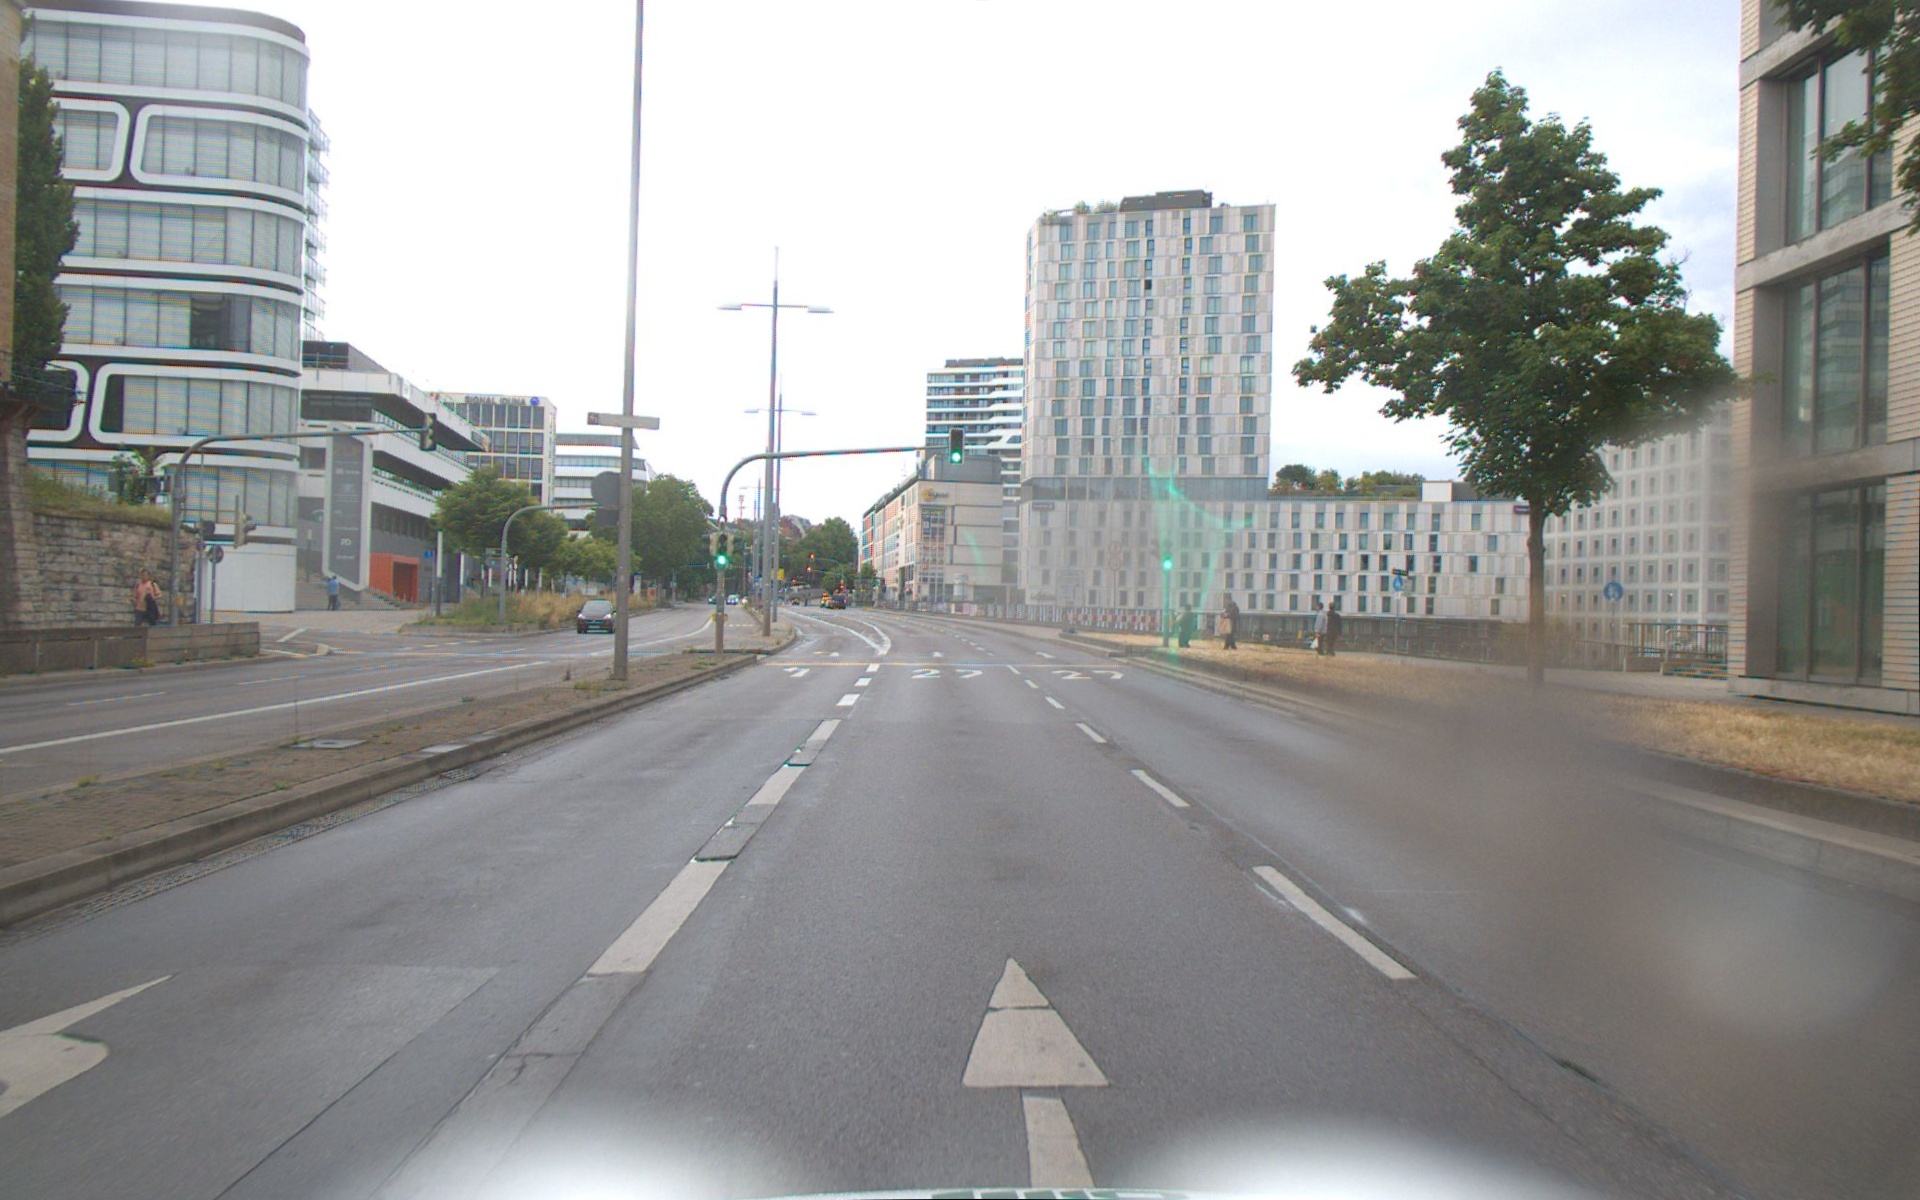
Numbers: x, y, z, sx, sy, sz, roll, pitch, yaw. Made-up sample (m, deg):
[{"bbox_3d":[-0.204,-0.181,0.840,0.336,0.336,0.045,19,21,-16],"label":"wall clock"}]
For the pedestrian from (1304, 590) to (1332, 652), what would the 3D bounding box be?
[{"bbox_3d":[9.585,0.556,44.282,0.540,1.605,0.669,0,1,33],"label":"pedestrian"}]

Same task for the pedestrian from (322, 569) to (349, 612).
[{"bbox_3d":[-30.017,-0.455,79.454,1.009,2.048,0.715,0,1,-2],"label":"pedestrian"}]

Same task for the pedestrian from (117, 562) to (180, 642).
[{"bbox_3d":[-19.620,0.040,39.973,0.865,1.899,1.058,0,1,33],"label":"pedestrian"}]

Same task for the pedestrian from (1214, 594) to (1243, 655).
[{"bbox_3d":[7.152,0.644,44.019,0.540,1.605,0.669,0,1,33],"label":"pedestrian"}]

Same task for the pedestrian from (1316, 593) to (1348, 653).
[{"bbox_3d":[10.256,0.626,45.582,0.657,1.605,0.666,1,2,36],"label":"pedestrian"}]

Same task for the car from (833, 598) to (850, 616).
[{"bbox_3d":[-15.791,0.923,220.428,1.953,2.384,3.998,-1,0,-2],"label":"car"}]

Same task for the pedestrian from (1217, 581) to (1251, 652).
[{"bbox_3d":[7.285,0.433,44.015,0.542,1.873,0.777,1,2,45],"label":"pedestrian"}]

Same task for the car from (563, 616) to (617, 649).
[{"bbox_3d":[-16.852,1.449,75.483,1.713,1.432,3.723,0,0,-2],"label":"car"}]
